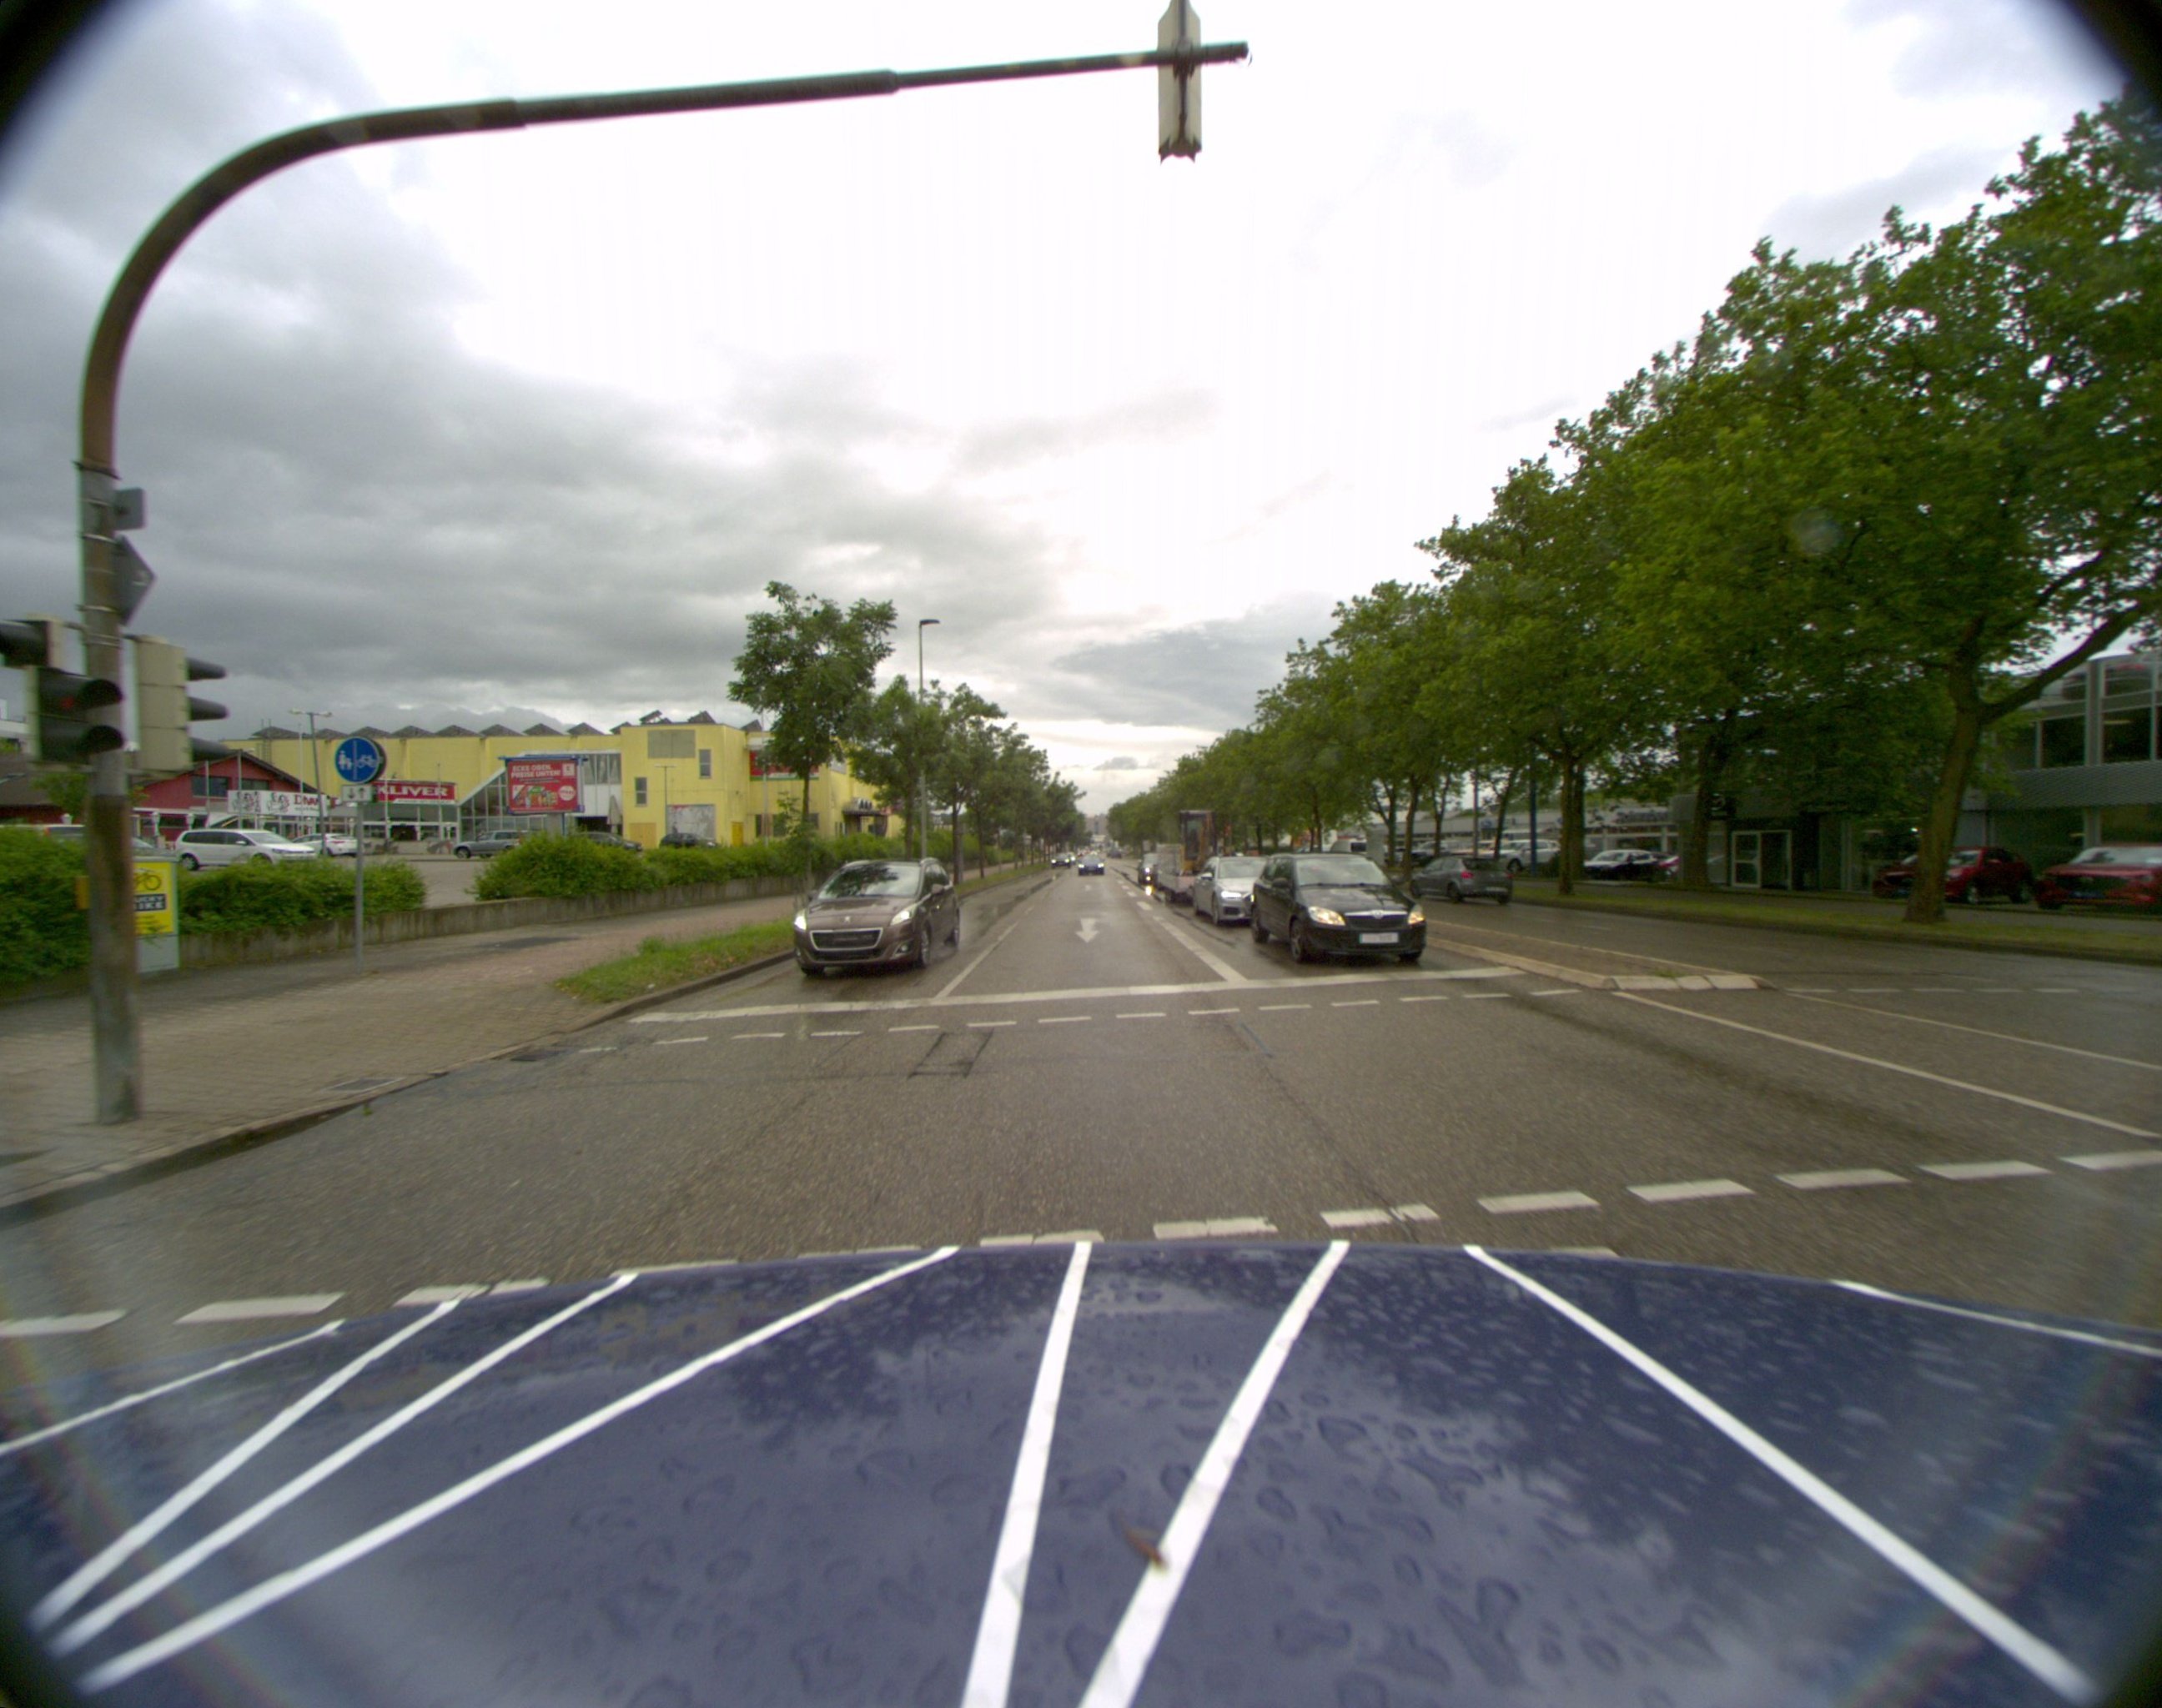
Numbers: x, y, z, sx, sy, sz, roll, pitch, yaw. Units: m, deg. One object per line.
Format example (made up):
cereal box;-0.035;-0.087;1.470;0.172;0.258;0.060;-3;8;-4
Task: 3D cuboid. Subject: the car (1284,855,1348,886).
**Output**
car;11.362;0.773;37.010;1.715;1.375;4.173;1;0;-1

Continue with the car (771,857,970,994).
car;-3.049;0.934;12.046;1.731;1.615;4.470;-3;0;1

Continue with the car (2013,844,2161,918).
car;25.443;0.604;18.693;4.237;1.643;2.008;0;1;-22

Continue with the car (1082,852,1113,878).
car;1.171;0.745;53.955;1.998;1.633;4.360;-3;1;2

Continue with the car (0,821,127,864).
car;-45.791;-0.479;33.235;4.981;1.768;2.381;-1;0;-1

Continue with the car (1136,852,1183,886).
car;3.889;0.704;38.310;1.912;1.569;4.880;0;1;1

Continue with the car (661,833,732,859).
car;-27.185;-0.545;53.839;3.997;1.768;2.000;-1;0;-1

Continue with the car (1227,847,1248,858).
car;22.871;-0.197;111.259;2.123;1.487;5.246;-1;1;0

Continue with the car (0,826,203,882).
car;-33.143;-0.004;25.660;4.578;1.768;2.000;-1;0;-1

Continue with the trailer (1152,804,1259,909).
trailer;3.669;0.047;23.631;2.379;2.880;5.544;0;1;0

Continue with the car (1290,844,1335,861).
car;29.136;-0.190;95.783;5.058;2.002;2.129;-1;1;-1

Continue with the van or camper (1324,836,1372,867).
van or camper;23.162;-0.225;66.166;1.998;2.456;6.401;-2;1;1

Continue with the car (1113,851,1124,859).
car;7.102;0.113;144.632;1.671;1.454;4.179;0;1;-4

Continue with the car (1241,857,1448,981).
car;3.664;0.802;11.360;1.718;1.481;4.077;0;0;1

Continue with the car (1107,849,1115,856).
car;6.468;-0.259;164.894;1.767;1.522;3.858;1;1;1

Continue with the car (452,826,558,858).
car;-32.256;-0.659;42.675;4.382;1.729;2.000;-1;0;-1

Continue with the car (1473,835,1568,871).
car;23.298;-0.072;40.277;4.473;1.805;1.996;-1;1;-22

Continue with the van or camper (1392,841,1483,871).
van or camper;22.381;0.100;47.664;5.306;1.811;2.262;-1;1;-25

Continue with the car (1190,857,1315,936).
car;3.618;0.816;16.898;1.770;1.450;4.780;-1;0;1

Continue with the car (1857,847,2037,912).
car;25.071;0.672;21.998;4.573;1.587;1.996;-2;1;-21

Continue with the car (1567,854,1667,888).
car;25.029;0.750;35.470;4.474;1.442;1.995;-1;1;-28

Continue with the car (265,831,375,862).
car;-44.710;-0.439;44.724;4.382;1.729;2.000;-1;0;-1

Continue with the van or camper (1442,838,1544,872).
van or camper;23.615;0.021;43.541;5.381;1.760;2.100;-1;4;-22

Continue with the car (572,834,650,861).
car;-31.608;-0.437;51.190;3.997;1.768;2.000;-1;0;-1

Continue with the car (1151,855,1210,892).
car;4.107;0.767;32.082;1.998;1.420;4.554;1;0;2

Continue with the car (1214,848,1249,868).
car;11.667;0.273;59.034;1.714;1.456;4.083;0;1;-3

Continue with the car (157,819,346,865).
car;-33.535;-0.468;30.853;4.981;1.768;2.381;-1;0;-1

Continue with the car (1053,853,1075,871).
car;-1.748;0.822;78.230;1.998;1.633;4.360;-3;1;2

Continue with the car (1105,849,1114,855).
car;7.002;-0.510;185.973;1.999;1.421;4.684;0;1;0
